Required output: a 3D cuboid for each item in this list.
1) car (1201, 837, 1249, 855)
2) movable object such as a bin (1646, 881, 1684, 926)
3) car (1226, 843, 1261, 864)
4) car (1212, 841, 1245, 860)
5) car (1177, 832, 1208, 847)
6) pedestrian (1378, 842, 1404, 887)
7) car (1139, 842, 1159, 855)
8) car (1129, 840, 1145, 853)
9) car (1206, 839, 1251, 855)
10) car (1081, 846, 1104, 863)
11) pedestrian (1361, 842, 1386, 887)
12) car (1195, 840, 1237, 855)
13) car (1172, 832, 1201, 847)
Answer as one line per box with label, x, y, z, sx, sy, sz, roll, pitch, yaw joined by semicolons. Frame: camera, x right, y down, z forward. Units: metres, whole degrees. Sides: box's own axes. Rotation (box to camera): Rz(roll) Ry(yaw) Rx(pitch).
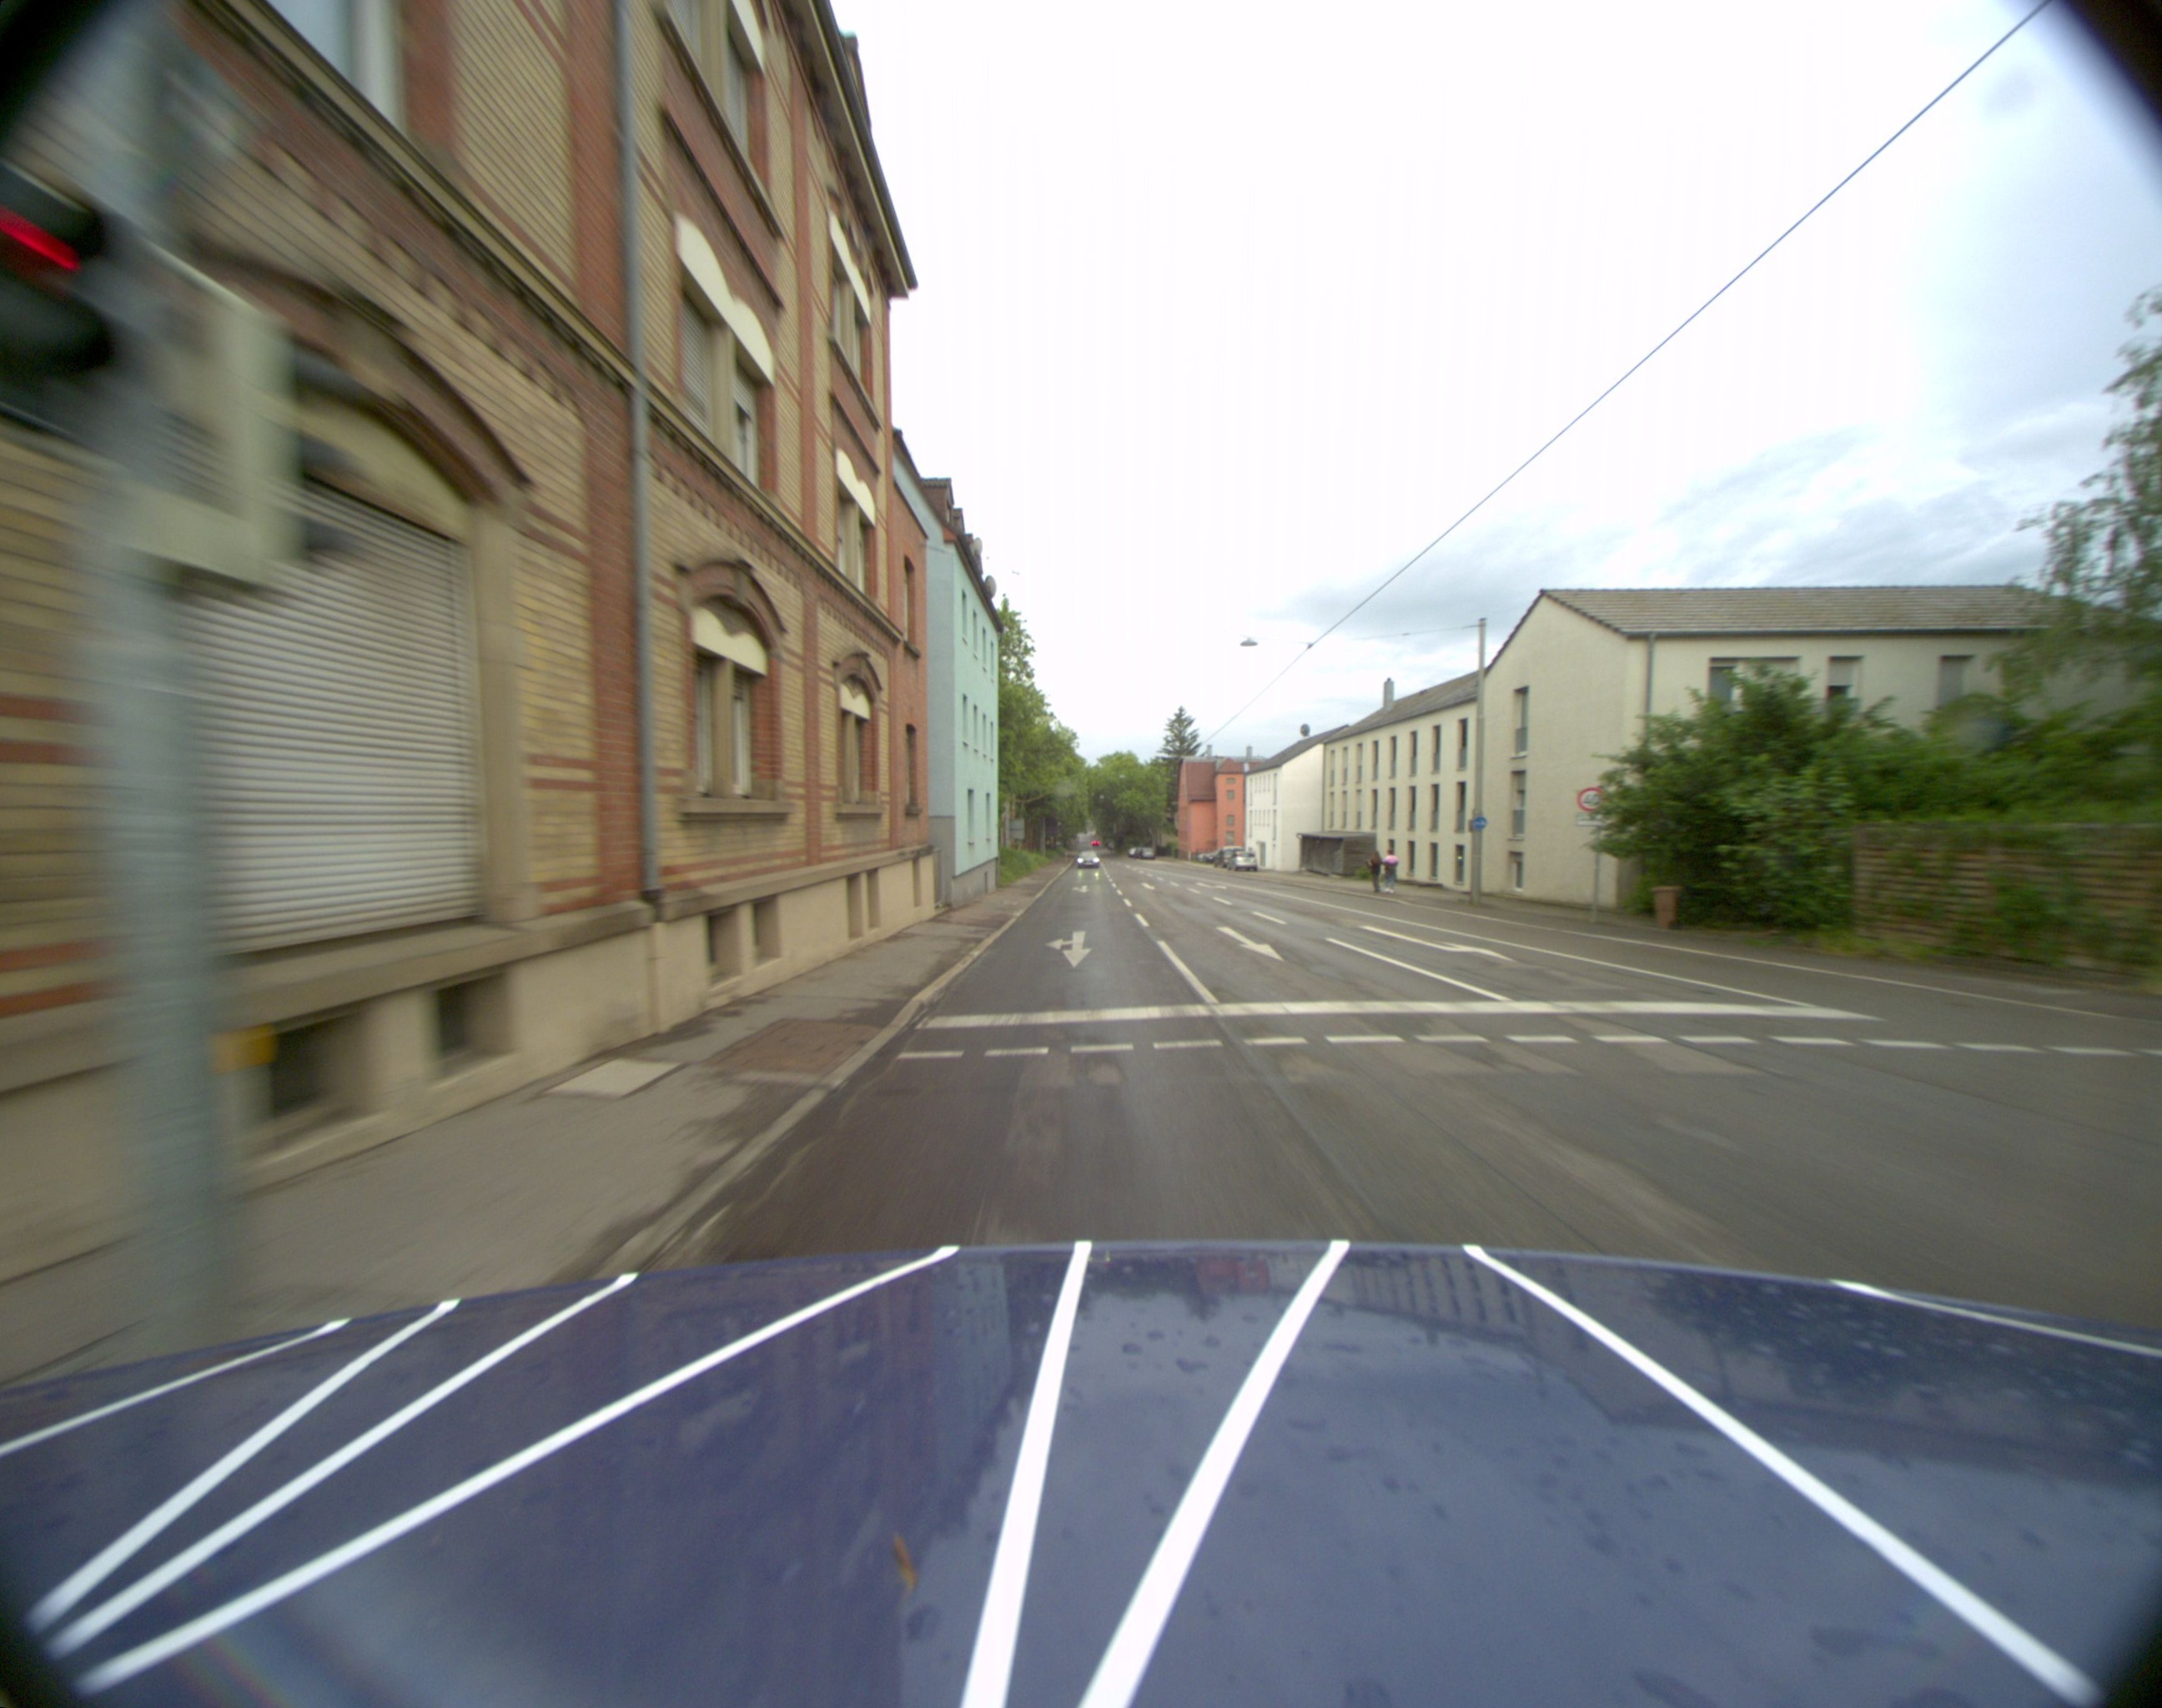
car;14.790;-0.844;77.981;4.542;1.599;2.152;-2;1;2
movable object such as a bin;12.739;1.064;16.576;0.410;0.919;0.525;-2;2;-6
car;12.374;-0.093;58.095;1.749;1.499;4.176;0;1;0
car;12.608;-0.314;65.174;1.750;1.543;4.081;-2;1;-4
car;15.175;-1.985;103.482;3.997;2.002;1.999;-1;2;-1
pedestrian;12.111;0.396;29.679;0.642;1.696;0.911;-1;2;1
car;7.989;-0.709;89.988;1.789;1.402;4.196;2;1;-2
car;7.454;-1.057;101.171;1.816;1.537;4.197;3;1;0
car;14.570;-0.670;75.342;4.136;1.456;1.895;-2;1;2
car;0.966;0.030;64.676;1.842;1.403;3.999;0;1;0
pedestrian;11.431;0.401;29.731;0.642;1.696;0.911;-1;2;1
car;14.283;-0.708;80.497;4.171;1.425;2.000;-2;1;2
car;14.938;-2.001;107.301;3.994;2.002;2.001;-1;2;8
